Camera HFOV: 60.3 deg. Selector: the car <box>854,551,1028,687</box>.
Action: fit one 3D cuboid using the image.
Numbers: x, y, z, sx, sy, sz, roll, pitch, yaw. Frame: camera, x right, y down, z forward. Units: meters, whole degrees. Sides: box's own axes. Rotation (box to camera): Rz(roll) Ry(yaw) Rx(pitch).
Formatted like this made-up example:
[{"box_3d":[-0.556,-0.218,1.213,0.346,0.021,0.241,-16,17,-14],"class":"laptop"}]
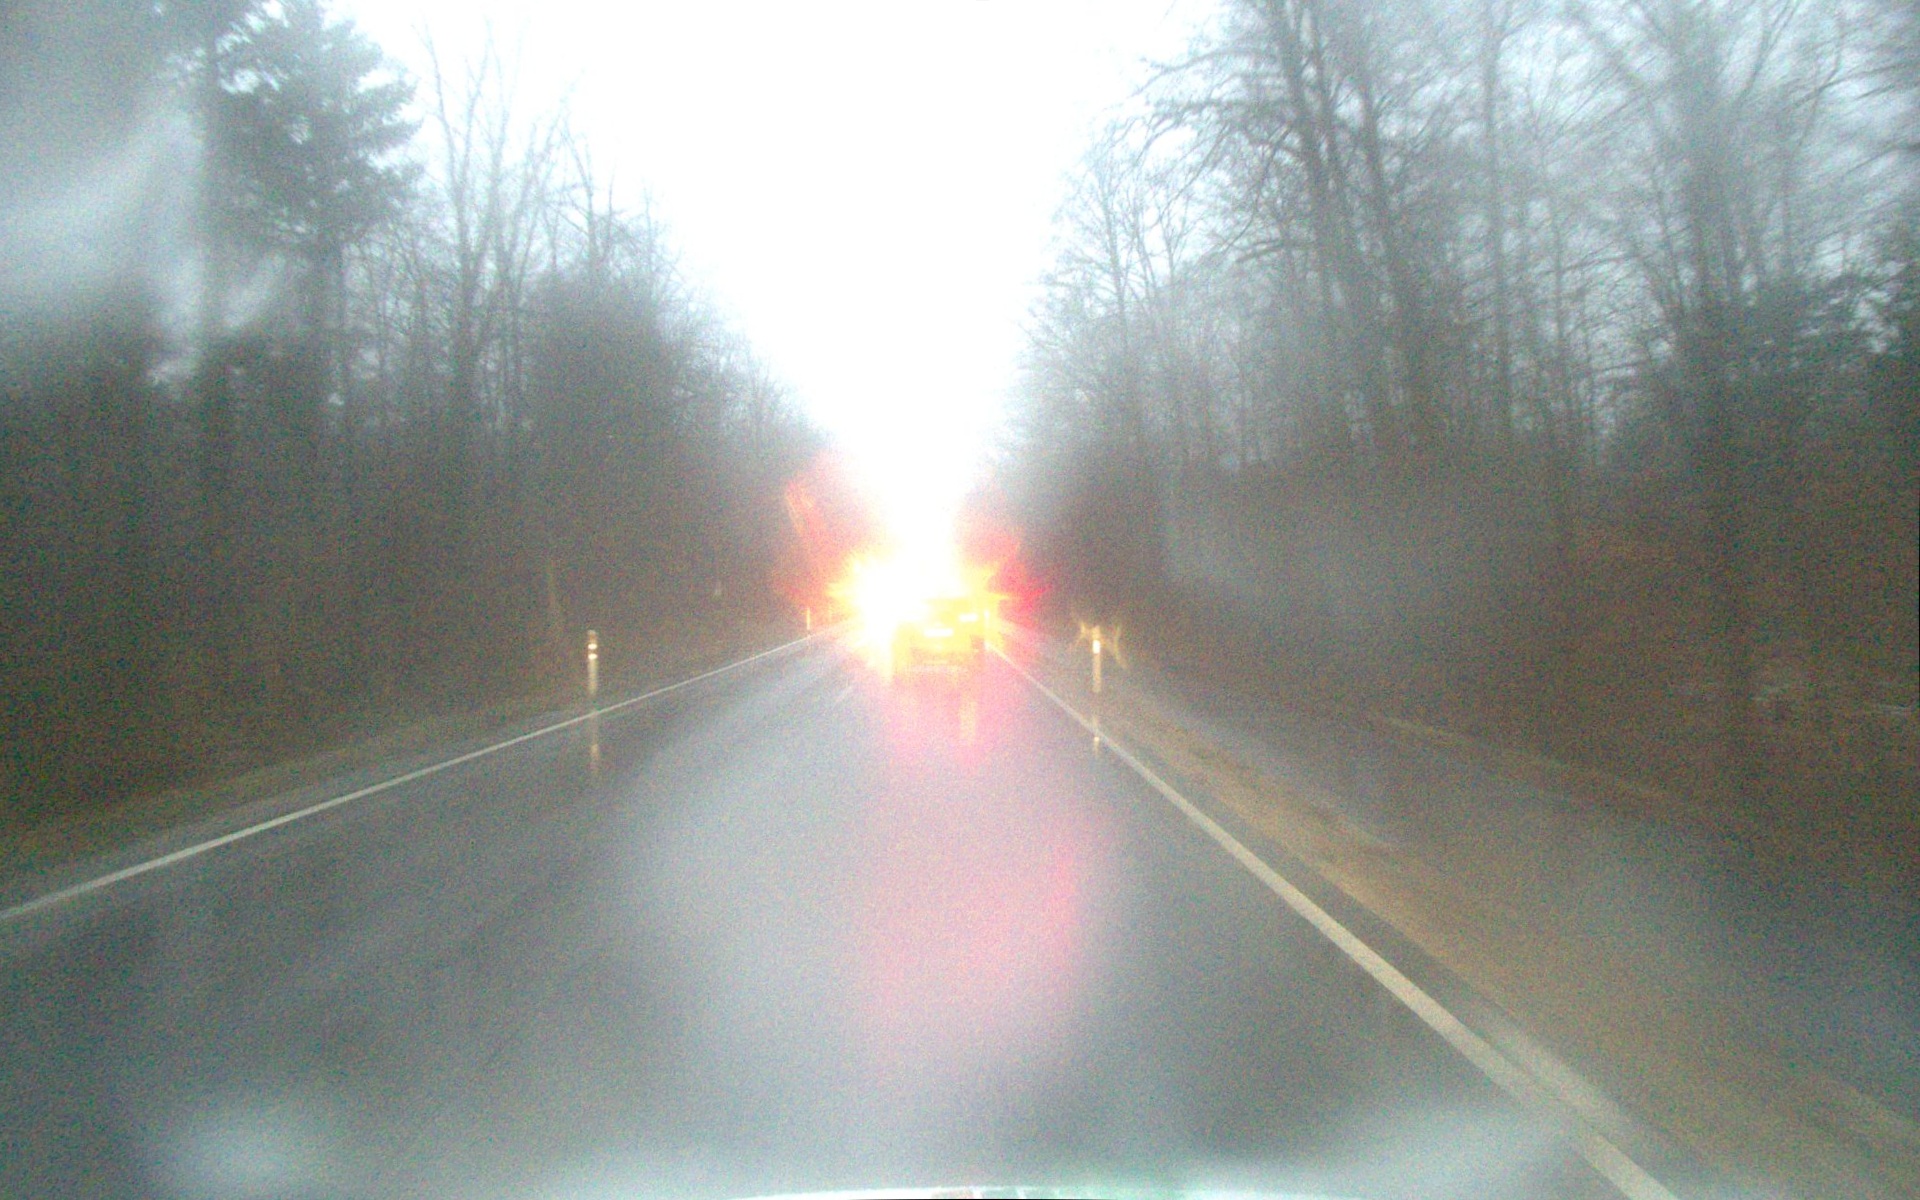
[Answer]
[{"box_3d":[-0.354,0.354,33.417,3.118,2.428,6.635,1,0,0],"class":"car"}]
